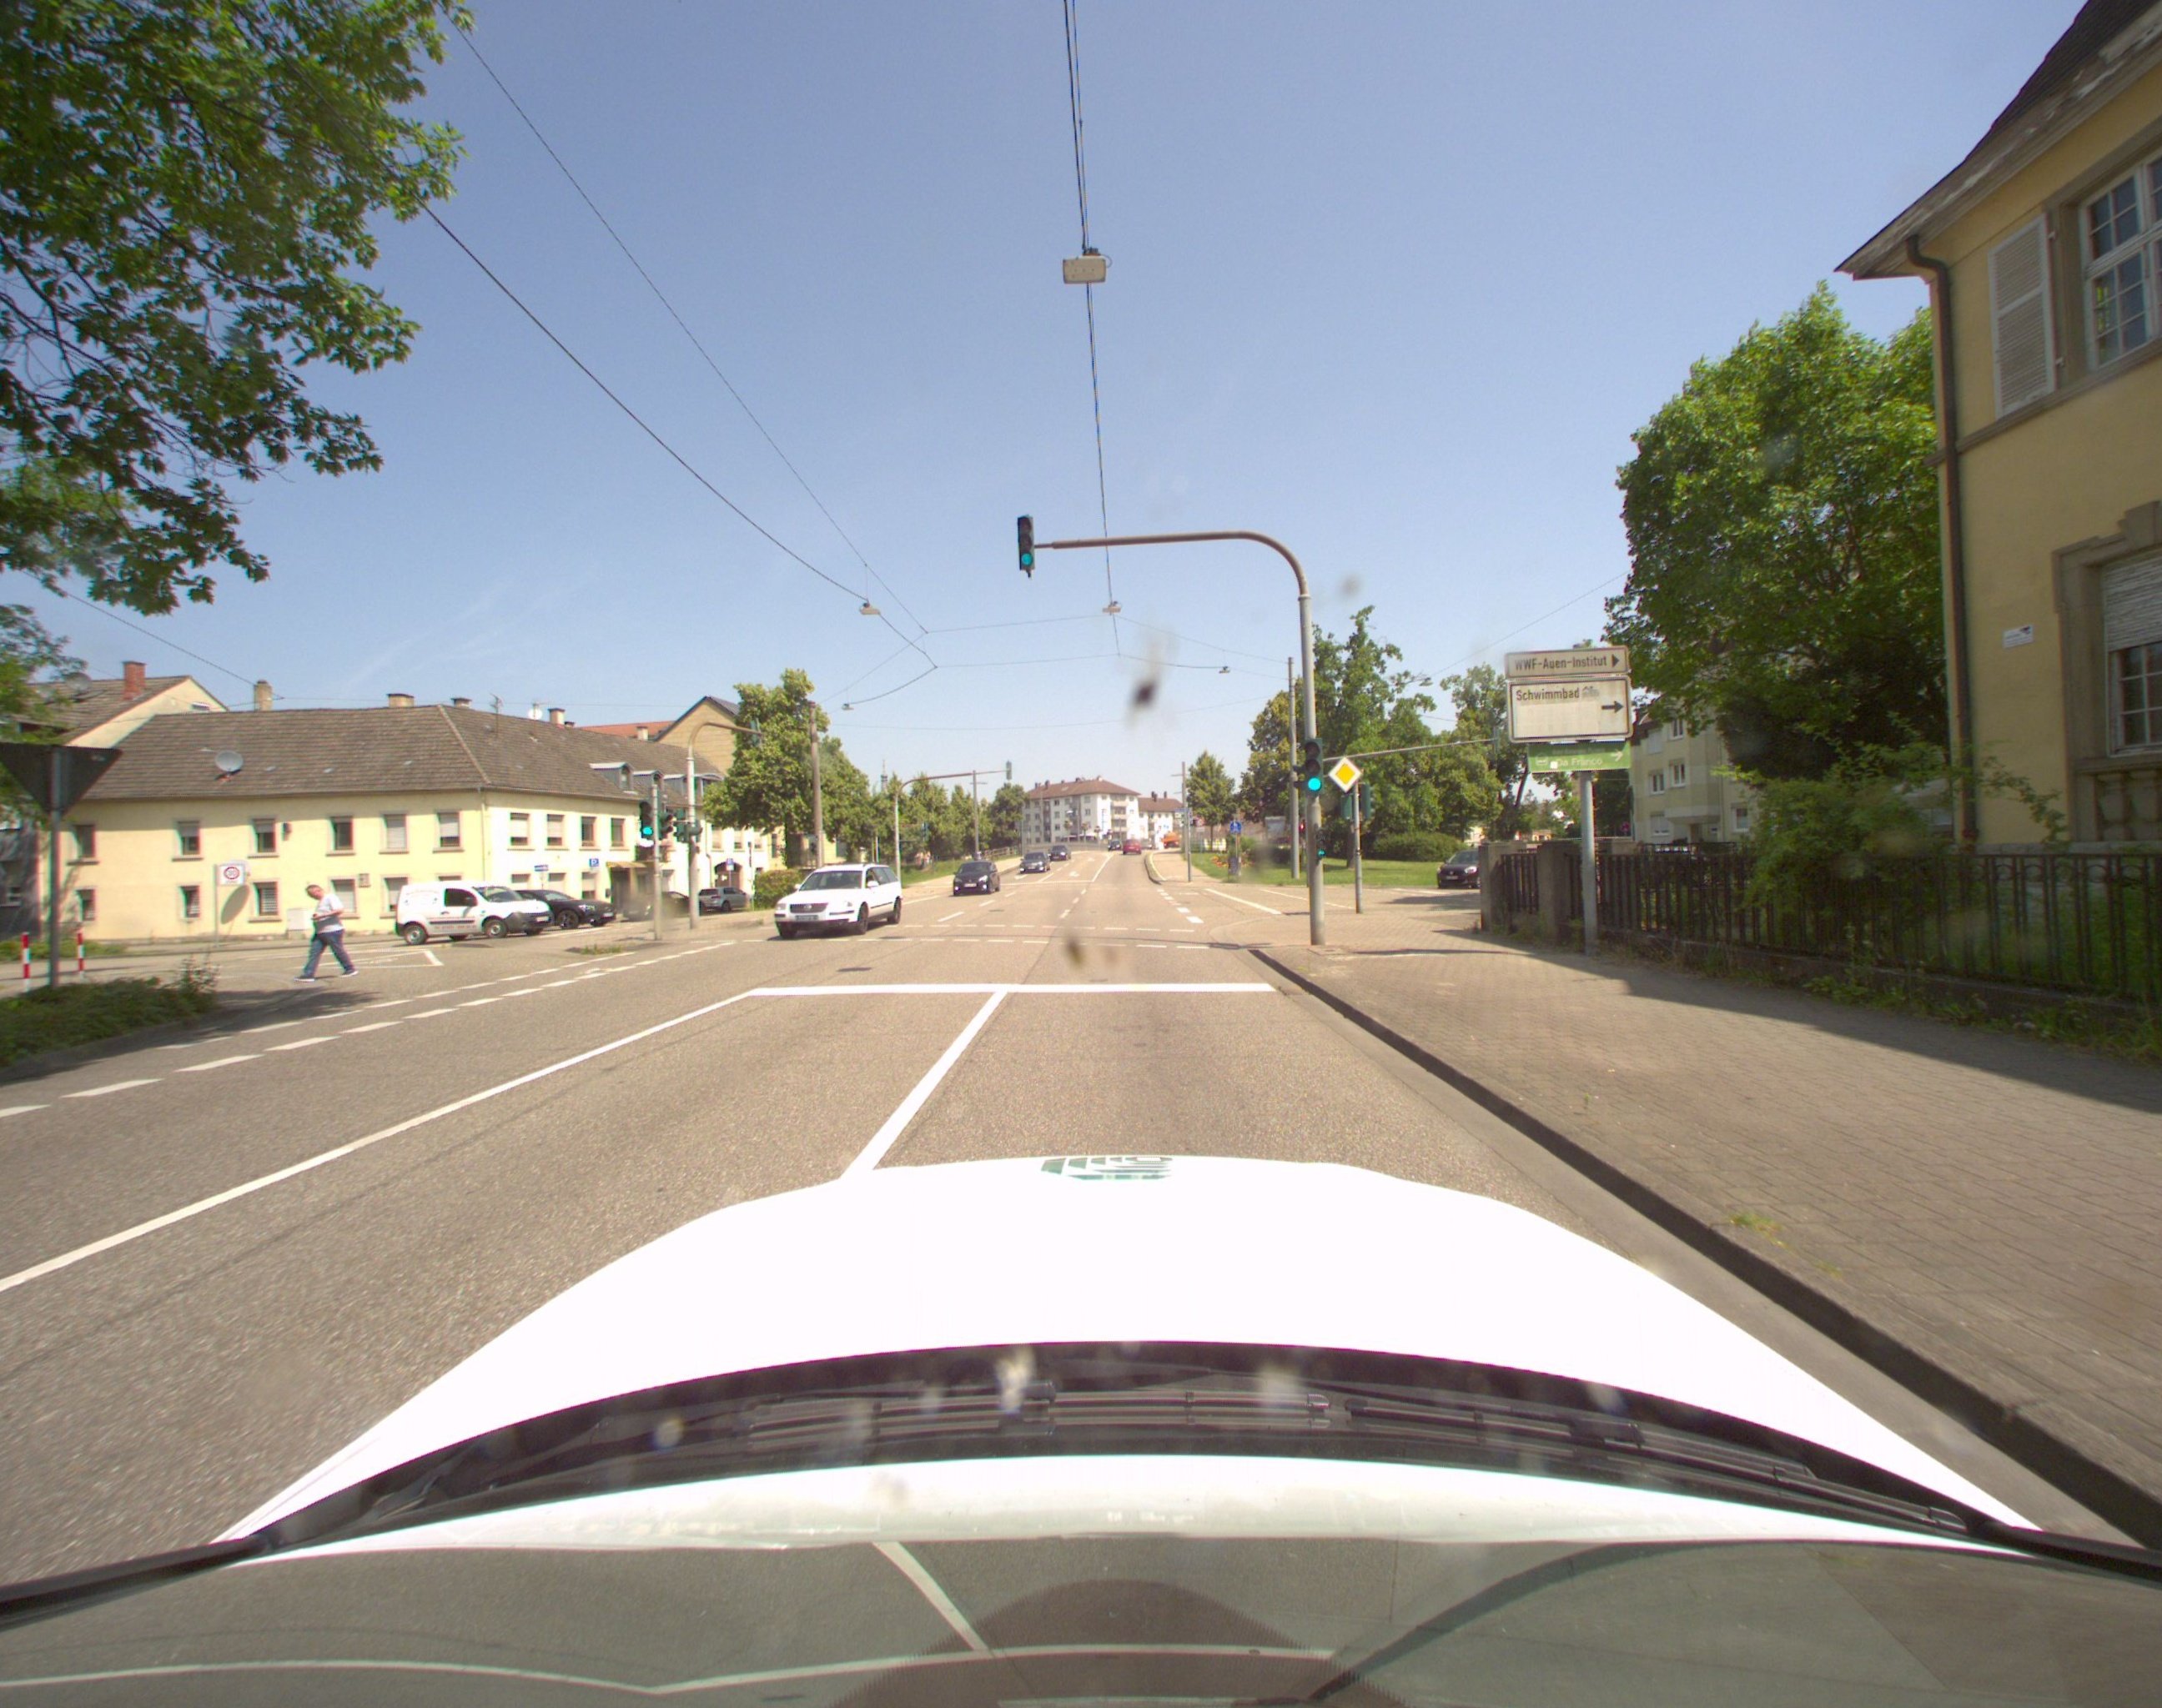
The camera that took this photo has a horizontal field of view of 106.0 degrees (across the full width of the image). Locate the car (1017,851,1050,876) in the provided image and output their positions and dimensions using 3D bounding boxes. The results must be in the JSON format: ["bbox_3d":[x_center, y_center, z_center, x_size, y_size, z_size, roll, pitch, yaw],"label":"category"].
[{"bbox_3d":[-3.271,0.643,56.859,1.749,1.560,4.320,-4,0,2],"label":"car"}]

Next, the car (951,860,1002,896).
[{"bbox_3d":[-4.519,1.011,35.768,1.610,1.456,3.711,-2,-1,2],"label":"car"}]

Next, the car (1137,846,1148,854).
[{"bbox_3d":[11.111,-0.683,146.577,1.703,1.485,4.042,-1,-1,10],"label":"car"}]

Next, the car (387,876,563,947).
[{"bbox_3d":[-17.846,1.657,24.137,3.673,1.735,1.894,-4,-1,0],"label":"car"}]

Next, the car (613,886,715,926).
[{"bbox_3d":[-21.457,2.622,42.185,1.804,1.628,5.300,-4,-1,10],"label":"car"}]

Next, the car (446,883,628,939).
[{"bbox_3d":[-18.297,1.889,27.596,4.592,1.401,2.115,-4,0,-2],"label":"car"}]

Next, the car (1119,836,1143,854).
[{"bbox_3d":[5.057,-0.883,81.979,1.979,1.613,4.352,-2,0,8],"label":"car"}]

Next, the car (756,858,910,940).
[{"bbox_3d":[-5.320,0.896,18.167,1.809,1.518,4.632,-3,-1,2],"label":"car"}]

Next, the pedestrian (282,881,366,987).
[{"bbox_3d":[-13.509,1.404,14.553,0.624,1.759,0.743,-5,2,2],"label":"pedestrian"}]

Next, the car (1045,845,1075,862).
[{"bbox_3d":[-1.891,-0.054,73.200,1.825,1.399,4.060,-5,0,9],"label":"car"}]

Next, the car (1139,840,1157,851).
[{"bbox_3d":[9.422,-1.151,113.894,2.025,1.503,4.429,-1,-1,10],"label":"car"}]

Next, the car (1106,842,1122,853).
[{"bbox_3d":[4.558,-0.902,113.460,1.703,1.485,4.042,-1,-1,10],"label":"car"}]

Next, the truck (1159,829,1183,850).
[{"bbox_3d":[12.073,-1.884,108.590,2.589,2.691,5.840,-2,0,11],"label":"truck"}]

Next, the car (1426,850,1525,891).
[{"bbox_3d":[16.677,0.668,34.298,4.843,1.632,1.895,0,-2,-40],"label":"car"}]

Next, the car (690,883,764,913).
[{"bbox_3d":[-20.566,2.521,47.474,1.765,1.432,4.442,-1,1,10],"label":"car"}]
